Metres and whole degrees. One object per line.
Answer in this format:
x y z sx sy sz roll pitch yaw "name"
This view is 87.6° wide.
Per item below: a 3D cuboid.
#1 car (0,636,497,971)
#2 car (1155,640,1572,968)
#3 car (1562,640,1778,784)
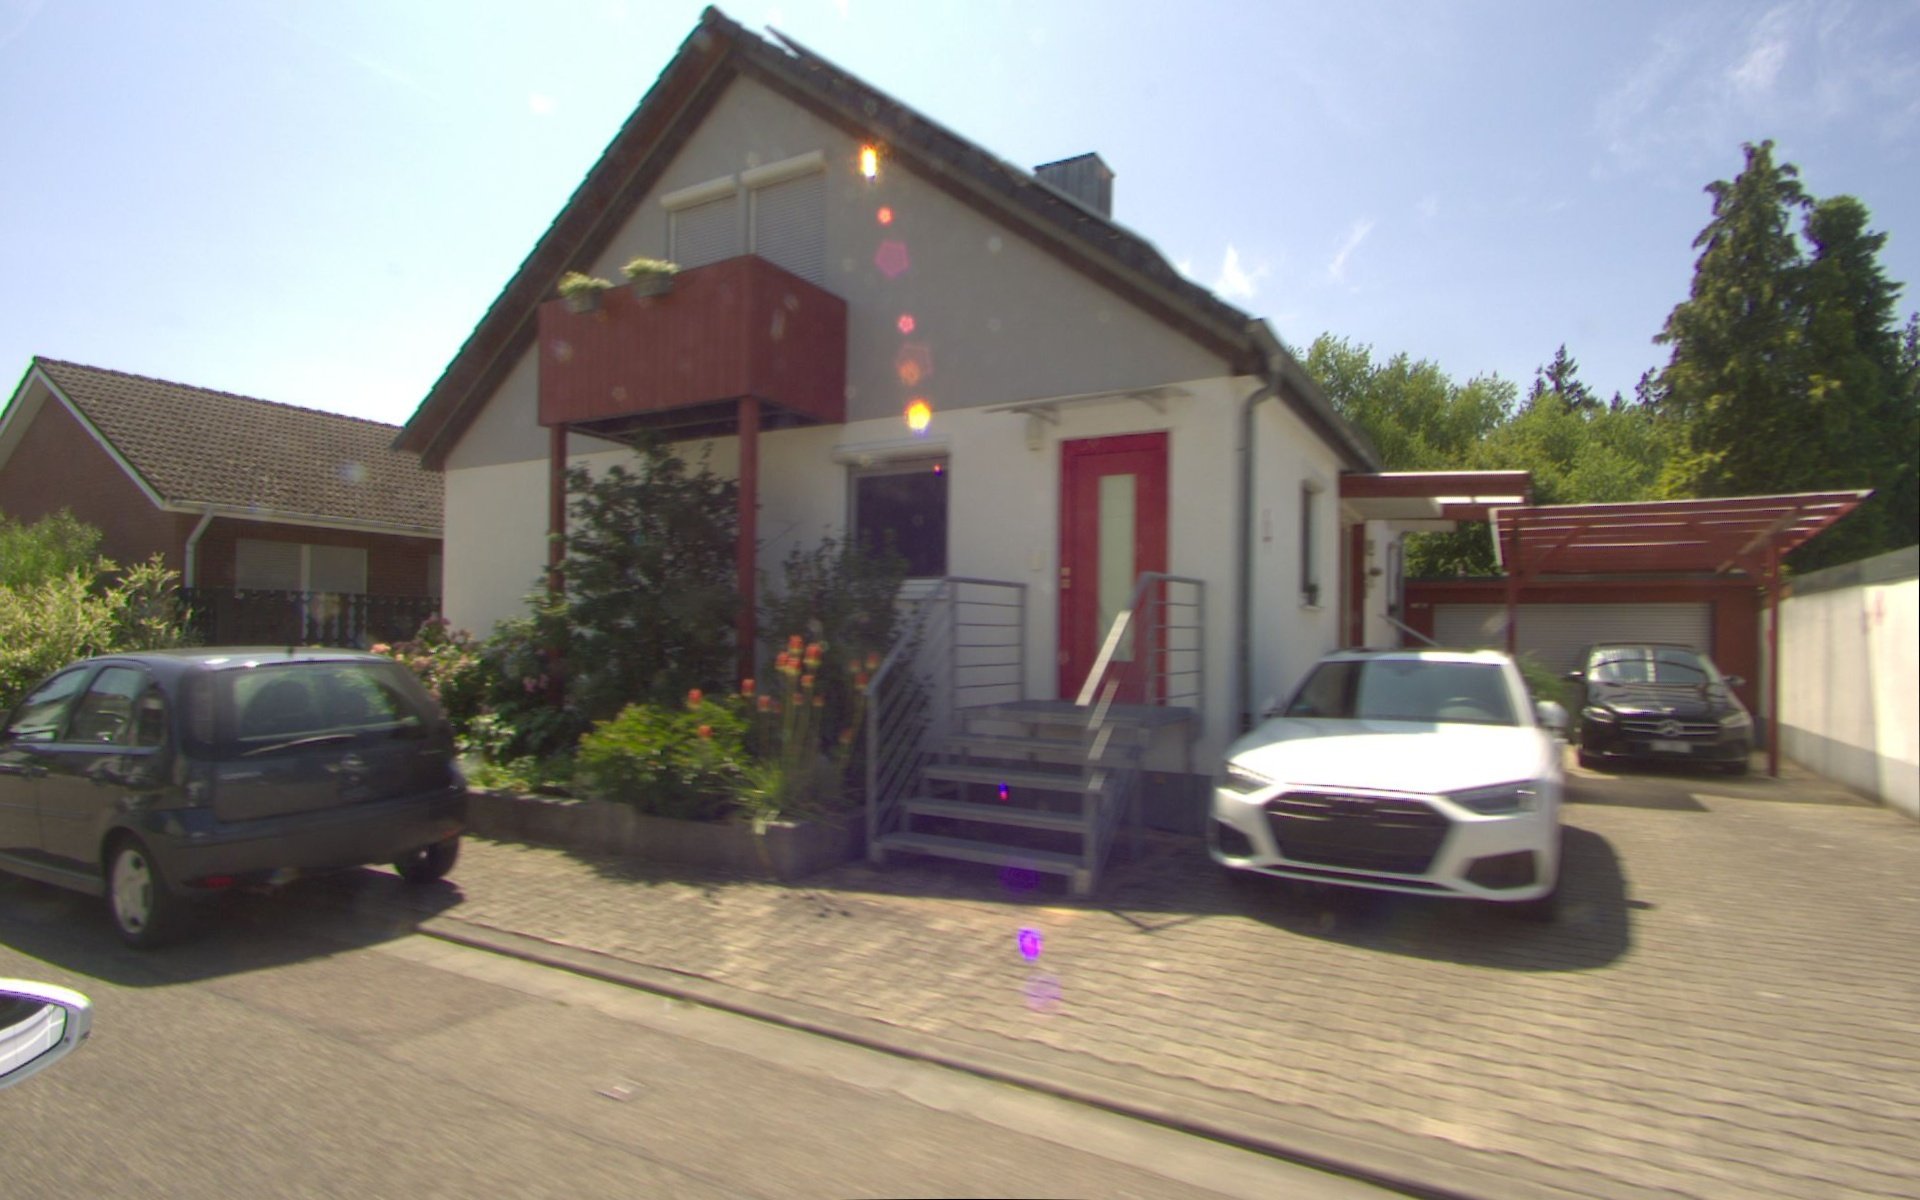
-4.699 0.972 6.118 3.598 1.458 1.648 0 -2 31 "car"
3.066 1.015 6.862 1.923 1.414 4.531 0 -2 32 "car"
9.286 1.349 13.439 1.842 1.587 4.055 0 -2 28 "car"
